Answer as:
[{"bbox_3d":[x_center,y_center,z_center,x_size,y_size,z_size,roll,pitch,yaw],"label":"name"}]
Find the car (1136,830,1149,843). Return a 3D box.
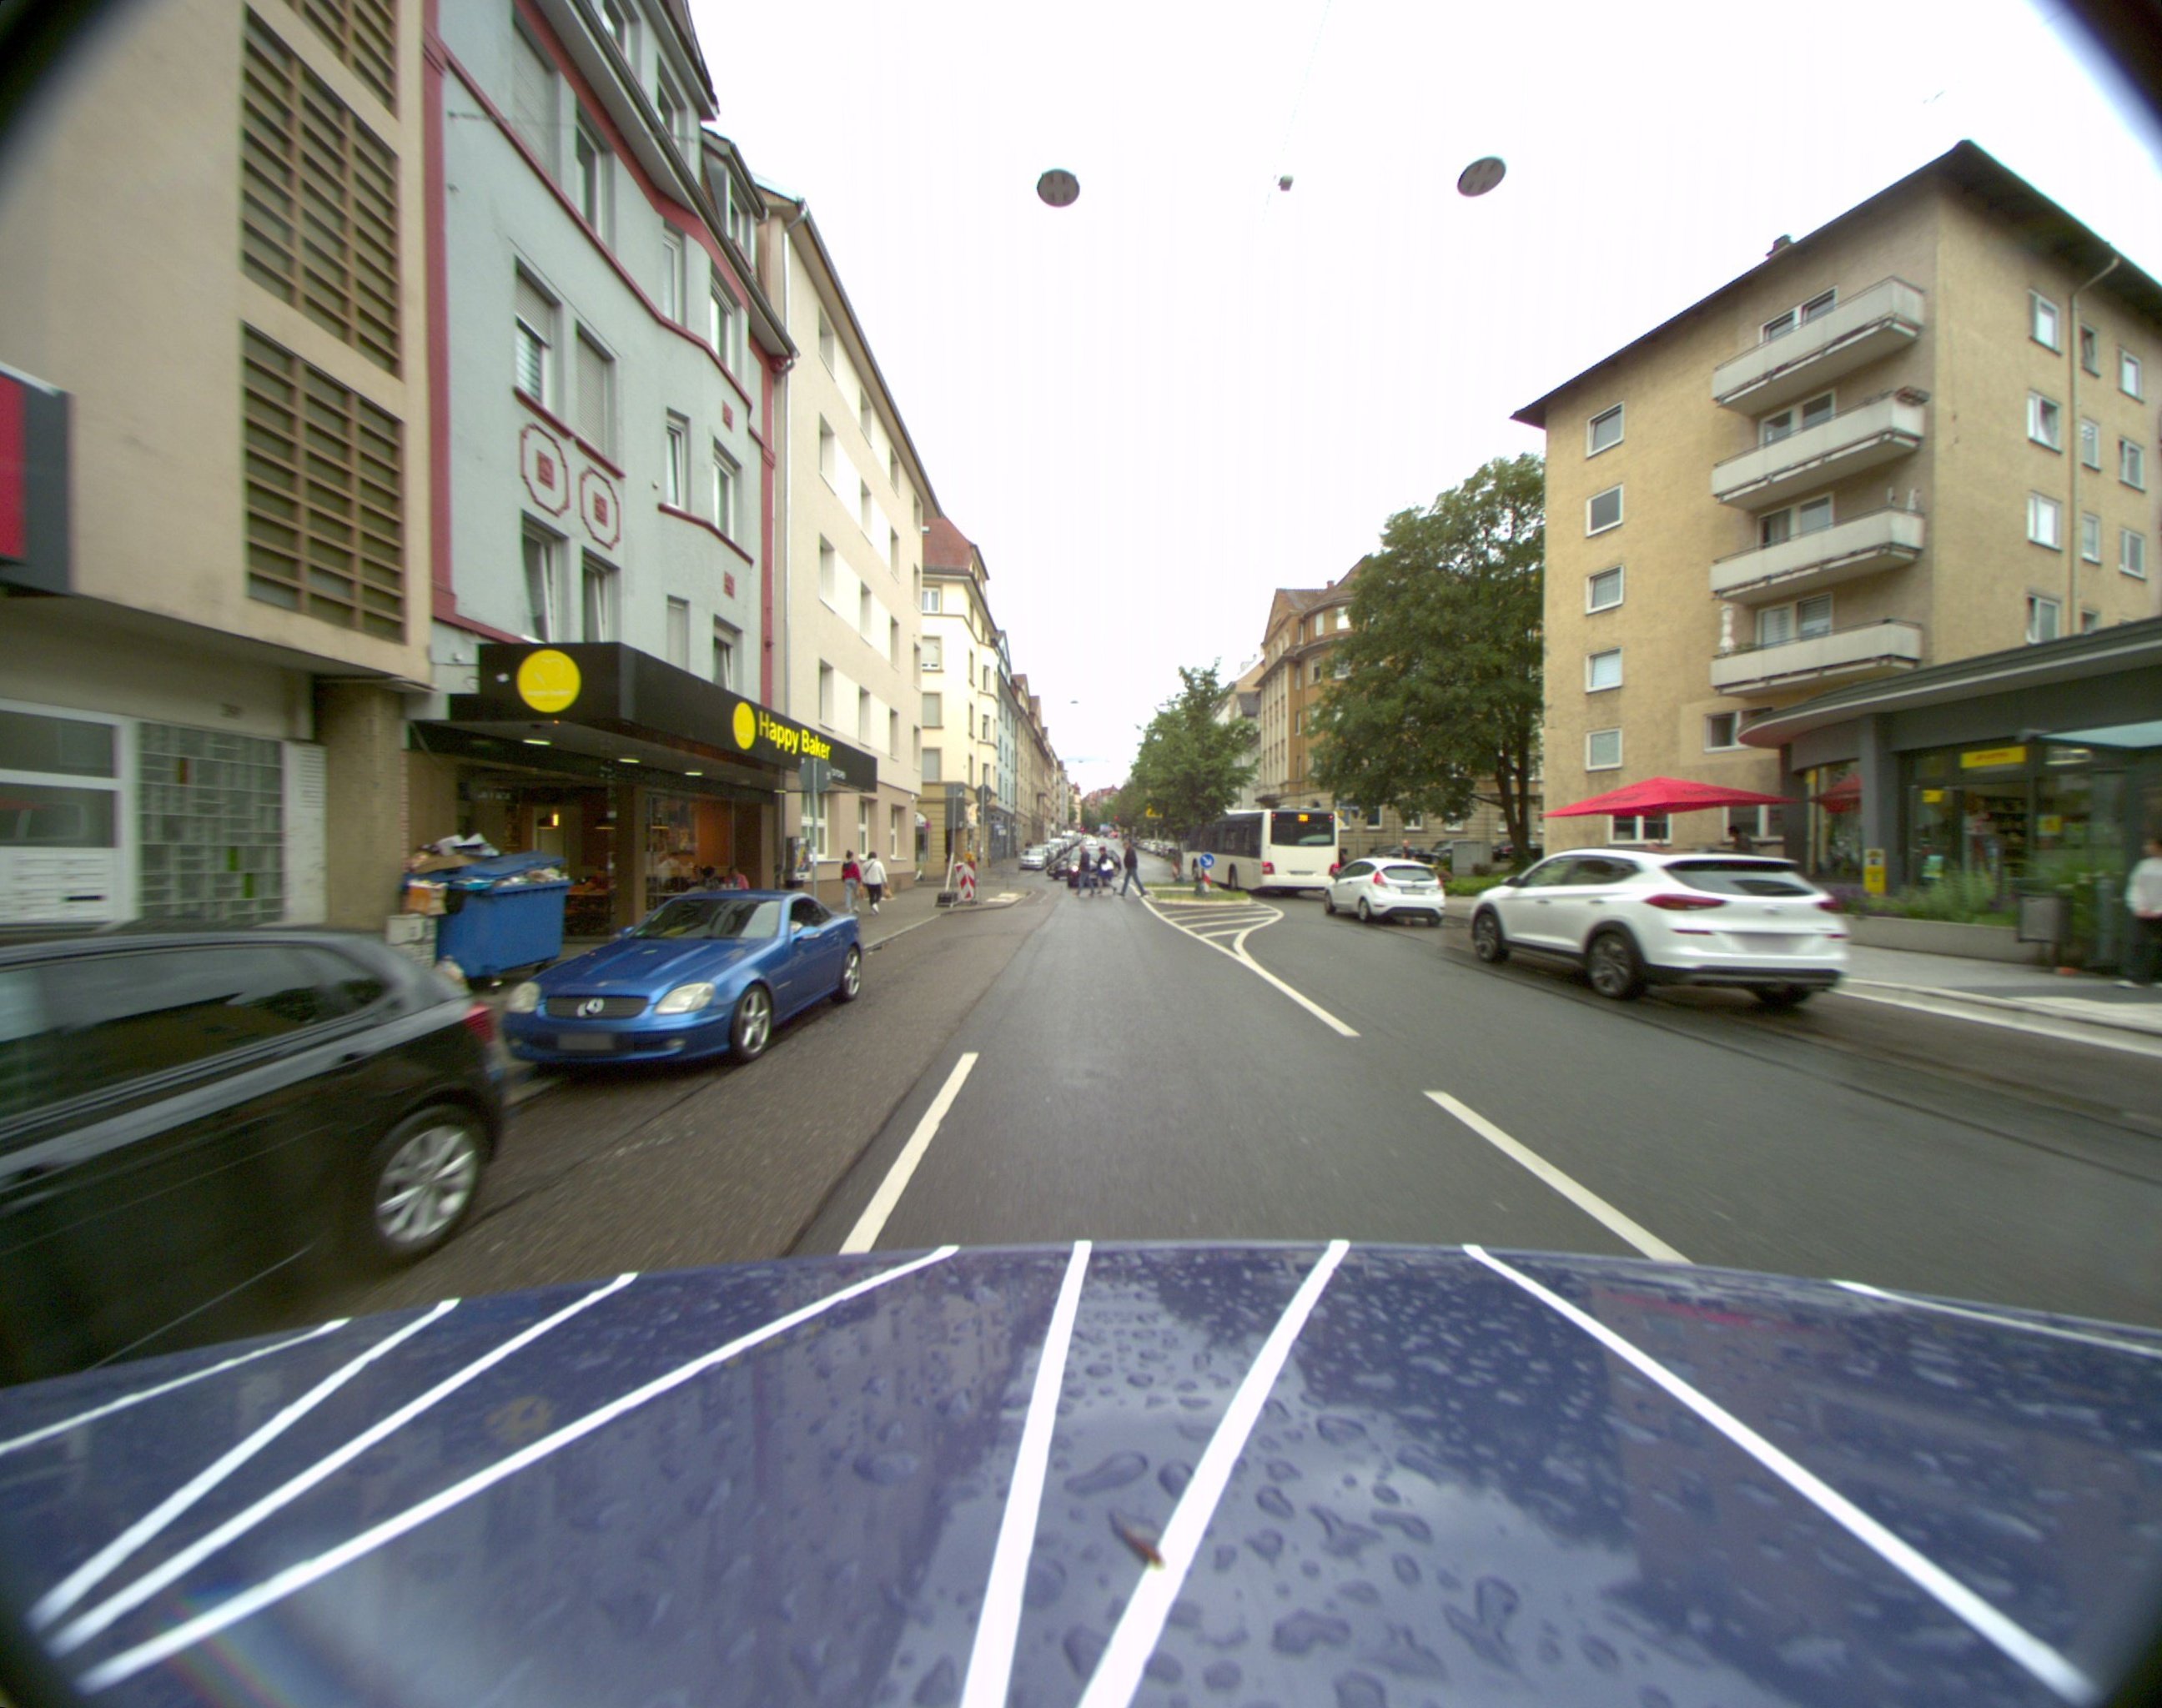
[{"bbox_3d":[8.994,-2.551,111.394,1.640,1.871,3.658,-1,2,0],"label":"car"}]

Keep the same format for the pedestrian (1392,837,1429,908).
[{"bbox_3d":[9.552,0.517,22.036,0.703,2.002,0.782,-1,2,-3],"label":"pedestrian"}]

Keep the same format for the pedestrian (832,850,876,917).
[{"bbox_3d":[-5.771,0.733,19.325,0.701,1.637,0.784,3,1,35],"label":"pedestrian"}]

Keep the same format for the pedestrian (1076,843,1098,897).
[{"bbox_3d":[0.216,0.528,25.371,0.611,1.739,0.698,-3,1,1],"label":"pedestrian"}]

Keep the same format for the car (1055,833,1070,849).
[{"bbox_3d":[-2.278,-1.583,92.915,1.719,1.871,3.906,-1,2,0],"label":"car"}]

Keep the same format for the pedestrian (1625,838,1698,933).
[{"bbox_3d":[10.852,0.569,14.207,0.793,1.699,0.761,-3,1,-24],"label":"pedestrian"}]

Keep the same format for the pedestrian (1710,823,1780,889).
[{"bbox_3d":[17.170,0.048,19.669,1.153,1.602,0.940,-3,1,-24],"label":"pedestrian"}]

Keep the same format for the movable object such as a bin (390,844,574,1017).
[{"bbox_3d":[-6.631,0.785,8.515,1.002,1.783,1.295,0,2,-1],"label":"movable object such as a bin"}]

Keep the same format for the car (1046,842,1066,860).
[{"bbox_3d":[-2.288,-0.290,69.454,1.733,1.486,3.550,-1,2,-1],"label":"car"}]

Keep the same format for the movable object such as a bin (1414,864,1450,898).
[{"bbox_3d":[11.529,0.872,24.966,0.743,1.052,0.811,-2,2,-24],"label":"movable object such as a bin"}]

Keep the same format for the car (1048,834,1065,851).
[{"bbox_3d":[-2.761,-1.359,86.170,1.733,1.887,3.550,-1,2,-1],"label":"car"}]

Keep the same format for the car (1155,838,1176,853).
[{"bbox_3d":[8.844,-0.925,79.625,1.672,1.508,3.392,-3,2,0],"label":"car"}]

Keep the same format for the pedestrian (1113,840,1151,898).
[{"bbox_3d":[1.593,0.457,23.674,1.062,1.738,0.854,-3,1,4],"label":"pedestrian"}]

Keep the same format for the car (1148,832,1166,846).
[{"bbox_3d":[8.875,-1.736,89.310,1.672,1.508,3.392,-3,2,0],"label":"car"}]

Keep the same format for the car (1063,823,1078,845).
[{"bbox_3d":[-1.743,-3.431,129.167,2.554,3.613,9.047,-1,2,0],"label":"car"}]

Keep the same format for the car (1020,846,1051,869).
[{"bbox_3d":[-3.117,0.209,52.646,1.856,1.456,4.203,-1,2,-1],"label":"car"}]

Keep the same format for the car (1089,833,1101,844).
[{"bbox_3d":[2.266,-2.552,124.555,1.796,1.768,3.902,-1,2,0],"label":"car"}]

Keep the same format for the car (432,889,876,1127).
[{"bbox_3d":[-3.366,1.125,6.959,1.738,1.302,3.767,-2,1,3],"label":"car"}]

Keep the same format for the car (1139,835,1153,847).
[{"bbox_3d":[9.051,-1.843,105.991,1.558,1.508,3.393,-3,2,1],"label":"car"}]

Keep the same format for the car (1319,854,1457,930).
[{"bbox_3d":[6.965,0.790,17.664,1.619,1.456,3.805,2,1,1],"label":"car"}]

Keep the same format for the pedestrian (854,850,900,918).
[{"bbox_3d":[-5.102,0.738,19.006,0.701,1.637,0.784,3,1,35],"label":"pedestrian"}]

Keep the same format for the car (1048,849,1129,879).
[{"bbox_3d":[0.317,0.471,38.510,3.998,1.412,1.811,-1,1,-3],"label":"car"}]

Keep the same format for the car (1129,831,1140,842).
[{"bbox_3d":[9.220,-2.983,131.844,1.640,1.871,3.658,-1,2,0],"label":"car"}]

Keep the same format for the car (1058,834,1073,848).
[{"bbox_3d":[-2.125,-1.842,105.150,1.999,1.871,3.999,-1,2,0],"label":"car"}]

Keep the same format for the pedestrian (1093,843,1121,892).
[{"bbox_3d":[0.892,0.454,26.003,0.791,1.656,0.699,2,1,16],"label":"pedestrian"}]

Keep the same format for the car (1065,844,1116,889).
[{"bbox_3d":[0.334,0.456,31.753,1.856,1.646,4.202,-1,2,-3],"label":"car"}]

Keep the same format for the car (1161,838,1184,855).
[{"bbox_3d":[8.909,-0.716,74.336,1.672,1.508,3.695,-3,2,0],"label":"car"}]

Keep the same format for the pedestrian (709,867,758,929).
[{"bbox_3d":[-7.401,0.920,16.191,0.703,1.251,0.658,2,1,1],"label":"pedestrian"}]

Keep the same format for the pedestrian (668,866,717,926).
[{"bbox_3d":[-8.571,0.918,16.784,0.703,1.251,0.658,2,1,1],"label":"pedestrian"}]

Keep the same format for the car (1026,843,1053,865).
[{"bbox_3d":[-3.175,-0.022,58.541,1.817,1.583,3.893,-1,2,-1],"label":"car"}]

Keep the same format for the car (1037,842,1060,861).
[{"bbox_3d":[-2.752,-0.238,65.106,1.776,1.583,3.550,-1,2,-1],"label":"car"}]

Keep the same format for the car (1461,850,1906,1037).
[{"bbox_3d":[6.459,0.801,8.919,1.899,1.564,4.124,2,2,1],"label":"car"}]

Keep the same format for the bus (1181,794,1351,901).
[{"bbox_3d":[6.705,-0.374,30.297,2.813,3.228,11.952,4,1,-4],"label":"bus"}]

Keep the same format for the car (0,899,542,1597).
[{"bbox_3d":[-3.456,1.023,1.555,1.734,1.538,3.981,-2,0,1],"label":"car"}]

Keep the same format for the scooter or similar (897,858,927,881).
[{"bbox_3d":[-9.108,0.823,41.052,1.482,1.144,0.486,-4,8,-37],"label":"scooter or similar"}]

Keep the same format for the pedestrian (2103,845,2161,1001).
[{"bbox_3d":[10.923,0.682,7.678,0.438,1.540,0.533,-1,1,0],"label":"pedestrian"}]

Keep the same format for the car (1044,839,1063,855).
[{"bbox_3d":[-2.701,-0.704,75.802,1.733,1.486,3.550,-1,2,-1],"label":"car"}]

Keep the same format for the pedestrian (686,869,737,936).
[{"bbox_3d":[-7.351,0.949,15.136,0.624,1.251,0.659,2,1,9],"label":"pedestrian"}]
